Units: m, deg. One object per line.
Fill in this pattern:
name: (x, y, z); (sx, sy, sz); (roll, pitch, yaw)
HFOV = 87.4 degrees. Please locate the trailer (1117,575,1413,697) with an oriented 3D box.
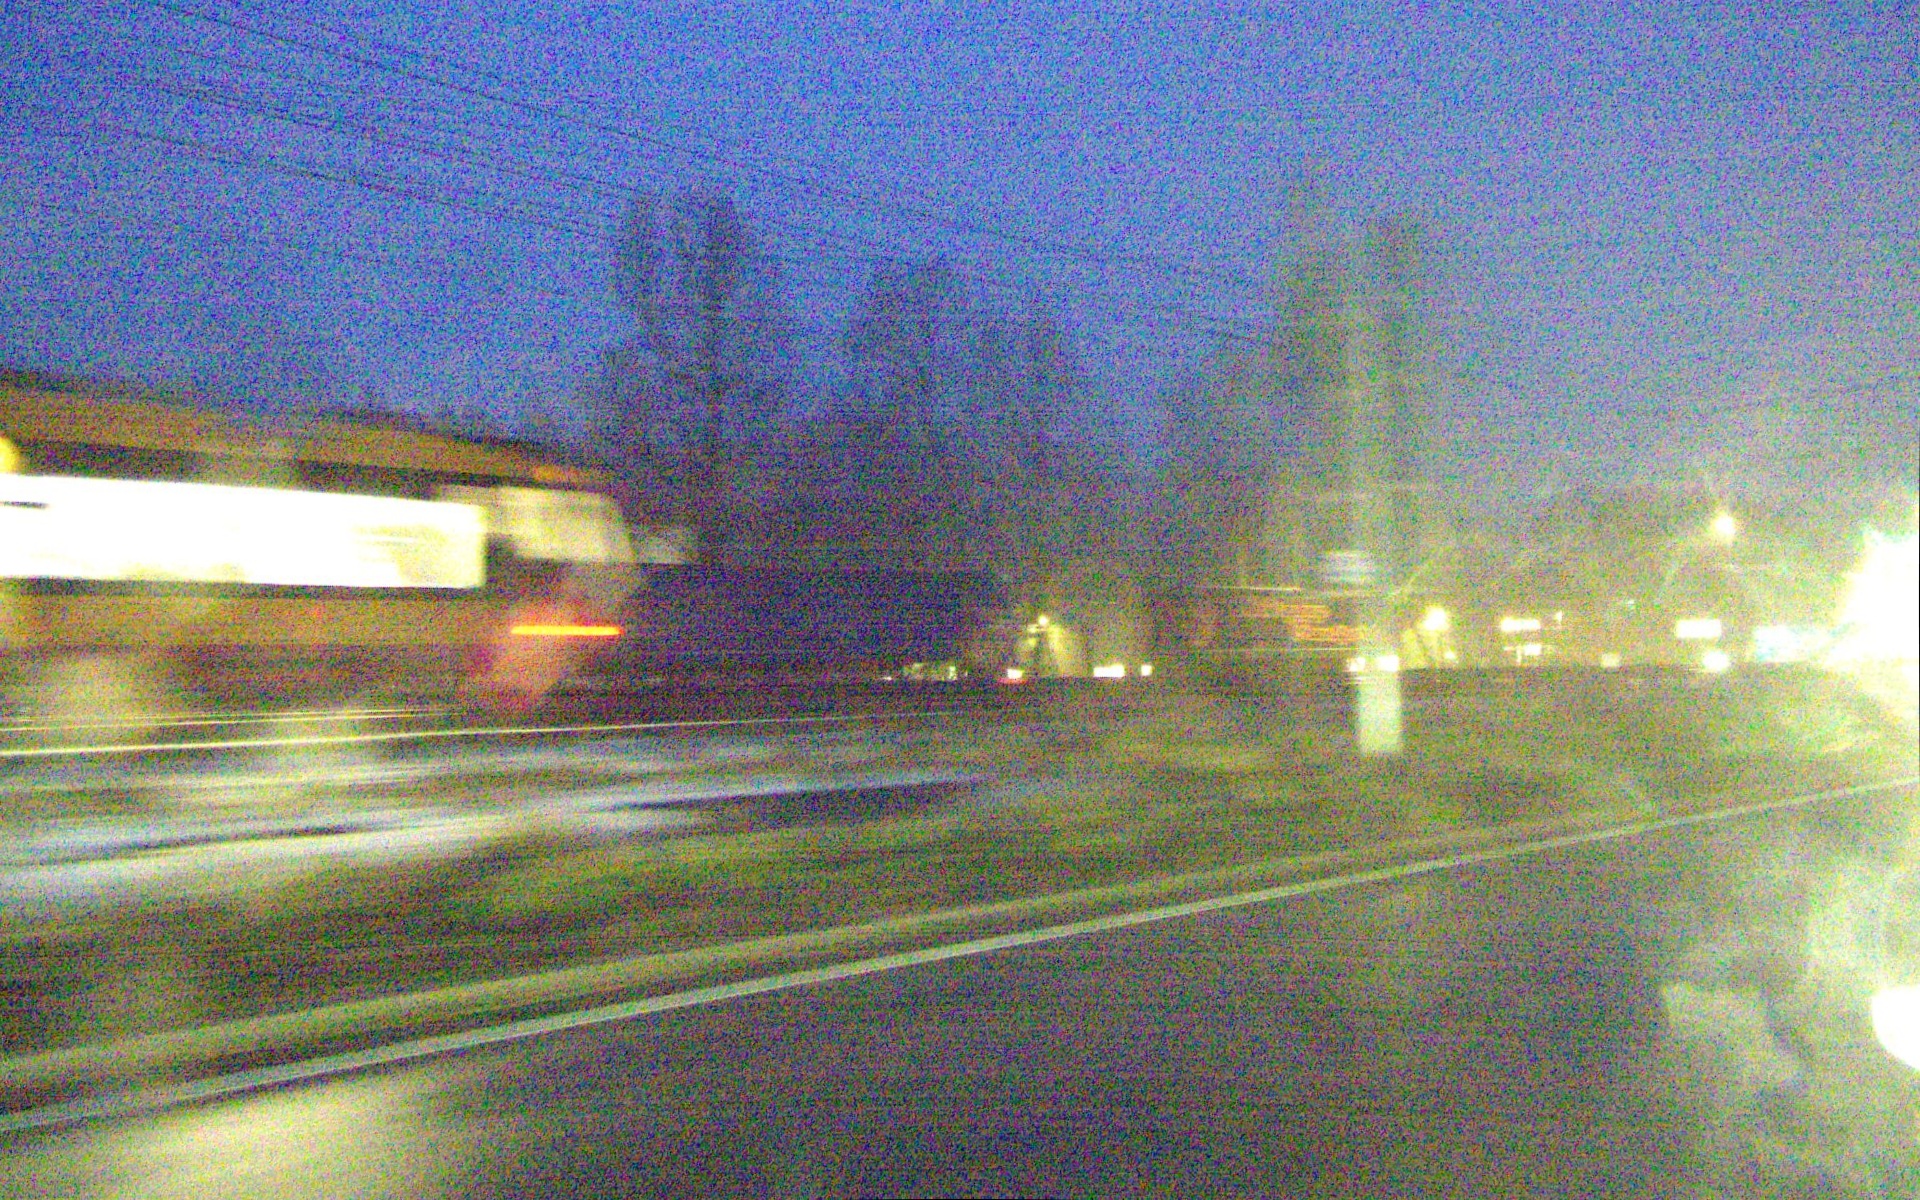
trailer: (13.649, 1.583, 43.969); (14.086, 4.671, 3.950); (2, 0, -31)

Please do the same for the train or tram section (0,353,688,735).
train or tram section: (-20.172, -0.931, 5.441); (36.720, 3.865, 2.682); (2, 0, -31)

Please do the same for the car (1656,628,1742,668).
car: (33.679, 2.146, 45.740); (4.172, 1.716, 1.776); (1, -1, -32)

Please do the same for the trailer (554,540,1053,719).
trailer: (-4.432, 0.986, 32.039); (15.340, 4.671, 3.950); (2, 0, -31)

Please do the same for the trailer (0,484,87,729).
trailer: (-26.698, -0.092, 19.038); (14.667, 5.079, 3.950); (2, 0, -31)
